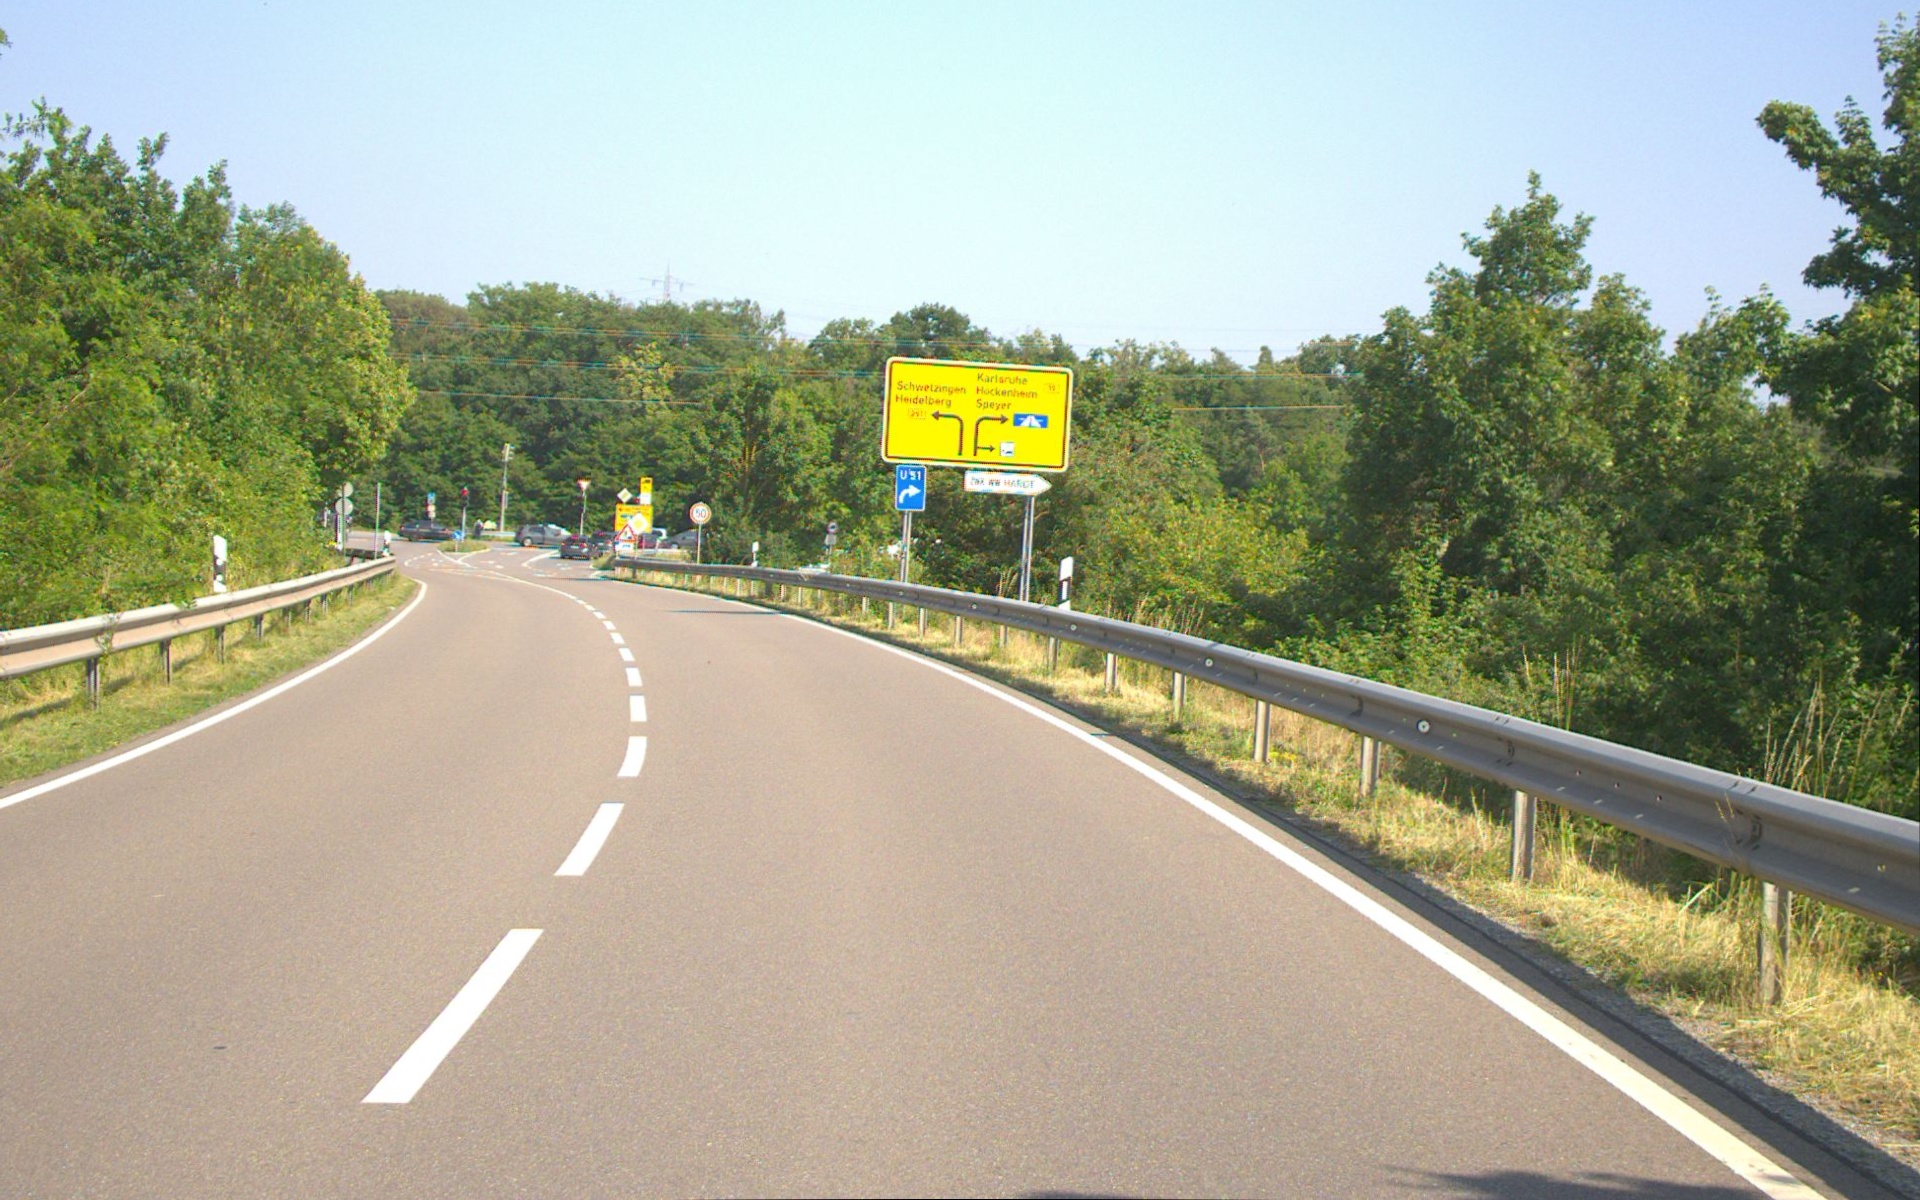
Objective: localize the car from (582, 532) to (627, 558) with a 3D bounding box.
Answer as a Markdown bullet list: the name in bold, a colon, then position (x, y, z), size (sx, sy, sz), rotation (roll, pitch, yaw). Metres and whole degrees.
- **car**: position (-22.208, -3.414, 214.809), size (1.800, 1.496, 3.999), rotation (3, 1, 8)

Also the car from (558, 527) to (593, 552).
- **car**: position (-23.193, -3.655, 207.319), size (1.799, 1.393, 4.001), rotation (-5, 1, -4)
